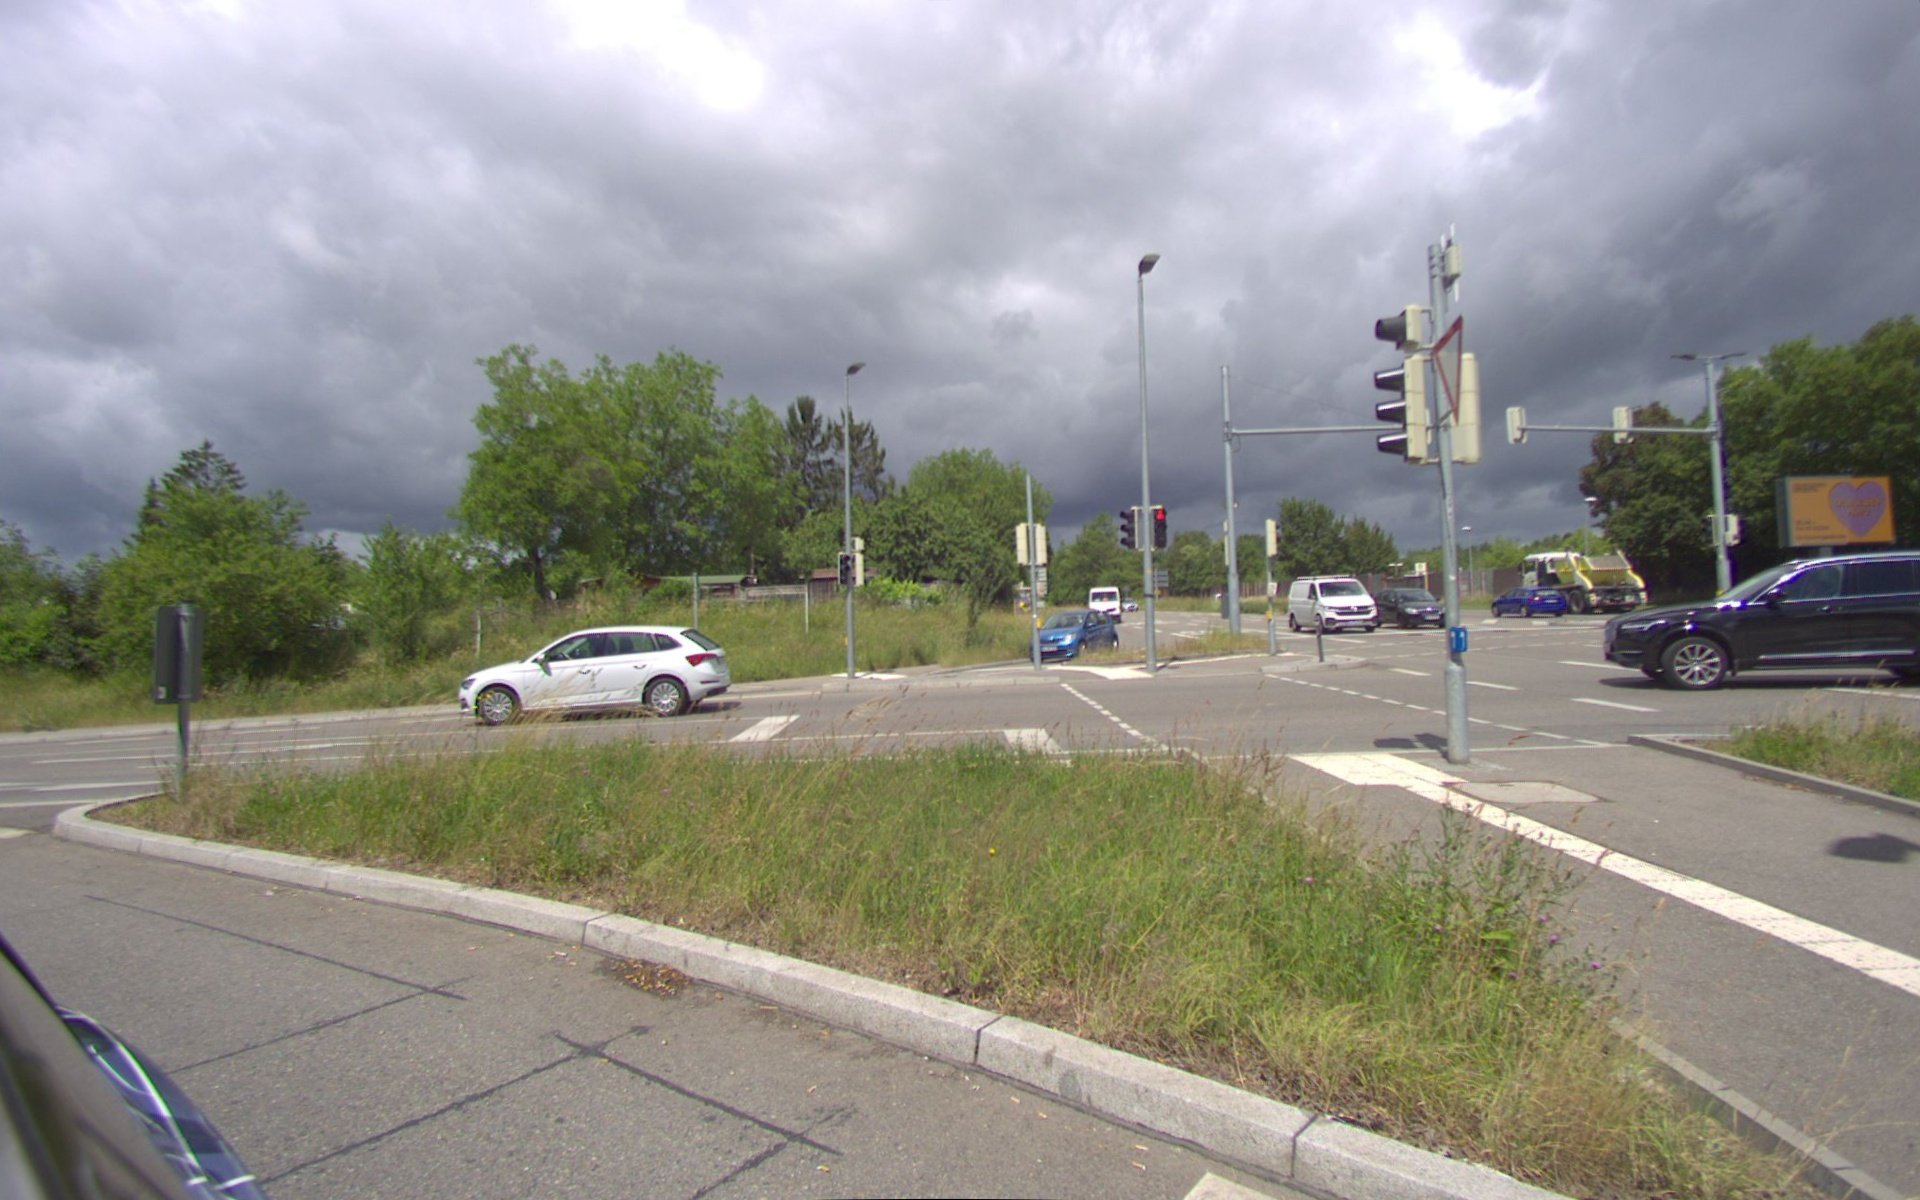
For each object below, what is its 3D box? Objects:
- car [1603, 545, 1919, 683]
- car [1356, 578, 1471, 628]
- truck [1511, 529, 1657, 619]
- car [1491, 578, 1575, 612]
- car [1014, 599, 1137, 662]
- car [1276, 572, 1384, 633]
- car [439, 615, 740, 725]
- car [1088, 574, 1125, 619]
[{"bbox_3d":[11.860,0.173,13.786,4.956,1.702,1.894,-3,-1,27],"label":"car"},{"bbox_3d":[16.724,0.110,37.654,1.884,1.648,4.972,-3,0,-1],"label":"car"},{"bbox_3d":[30.913,-1.147,50.549,2.808,3.607,6.962,-2,-5,1],"label":"truck"},{"bbox_3d":[26.881,-0.209,47.648,1.674,1.411,3.998,-2,-1,1],"label":"car"},{"bbox_3d":[3.529,0.865,30.320,1.905,1.649,4.400,-3,0,32],"label":"car"},{"bbox_3d":[13.241,0.095,36.566,1.884,1.952,4.972,-3,0,-1],"label":"car"},{"bbox_3d":[-5.955,1.098,16.632,4.314,1.480,1.623,-3,0,-2],"label":"car"},{"bbox_3d":[9.457,-0.149,65.358,2.140,2.670,5.811,-3,-1,8],"label":"car"}]
